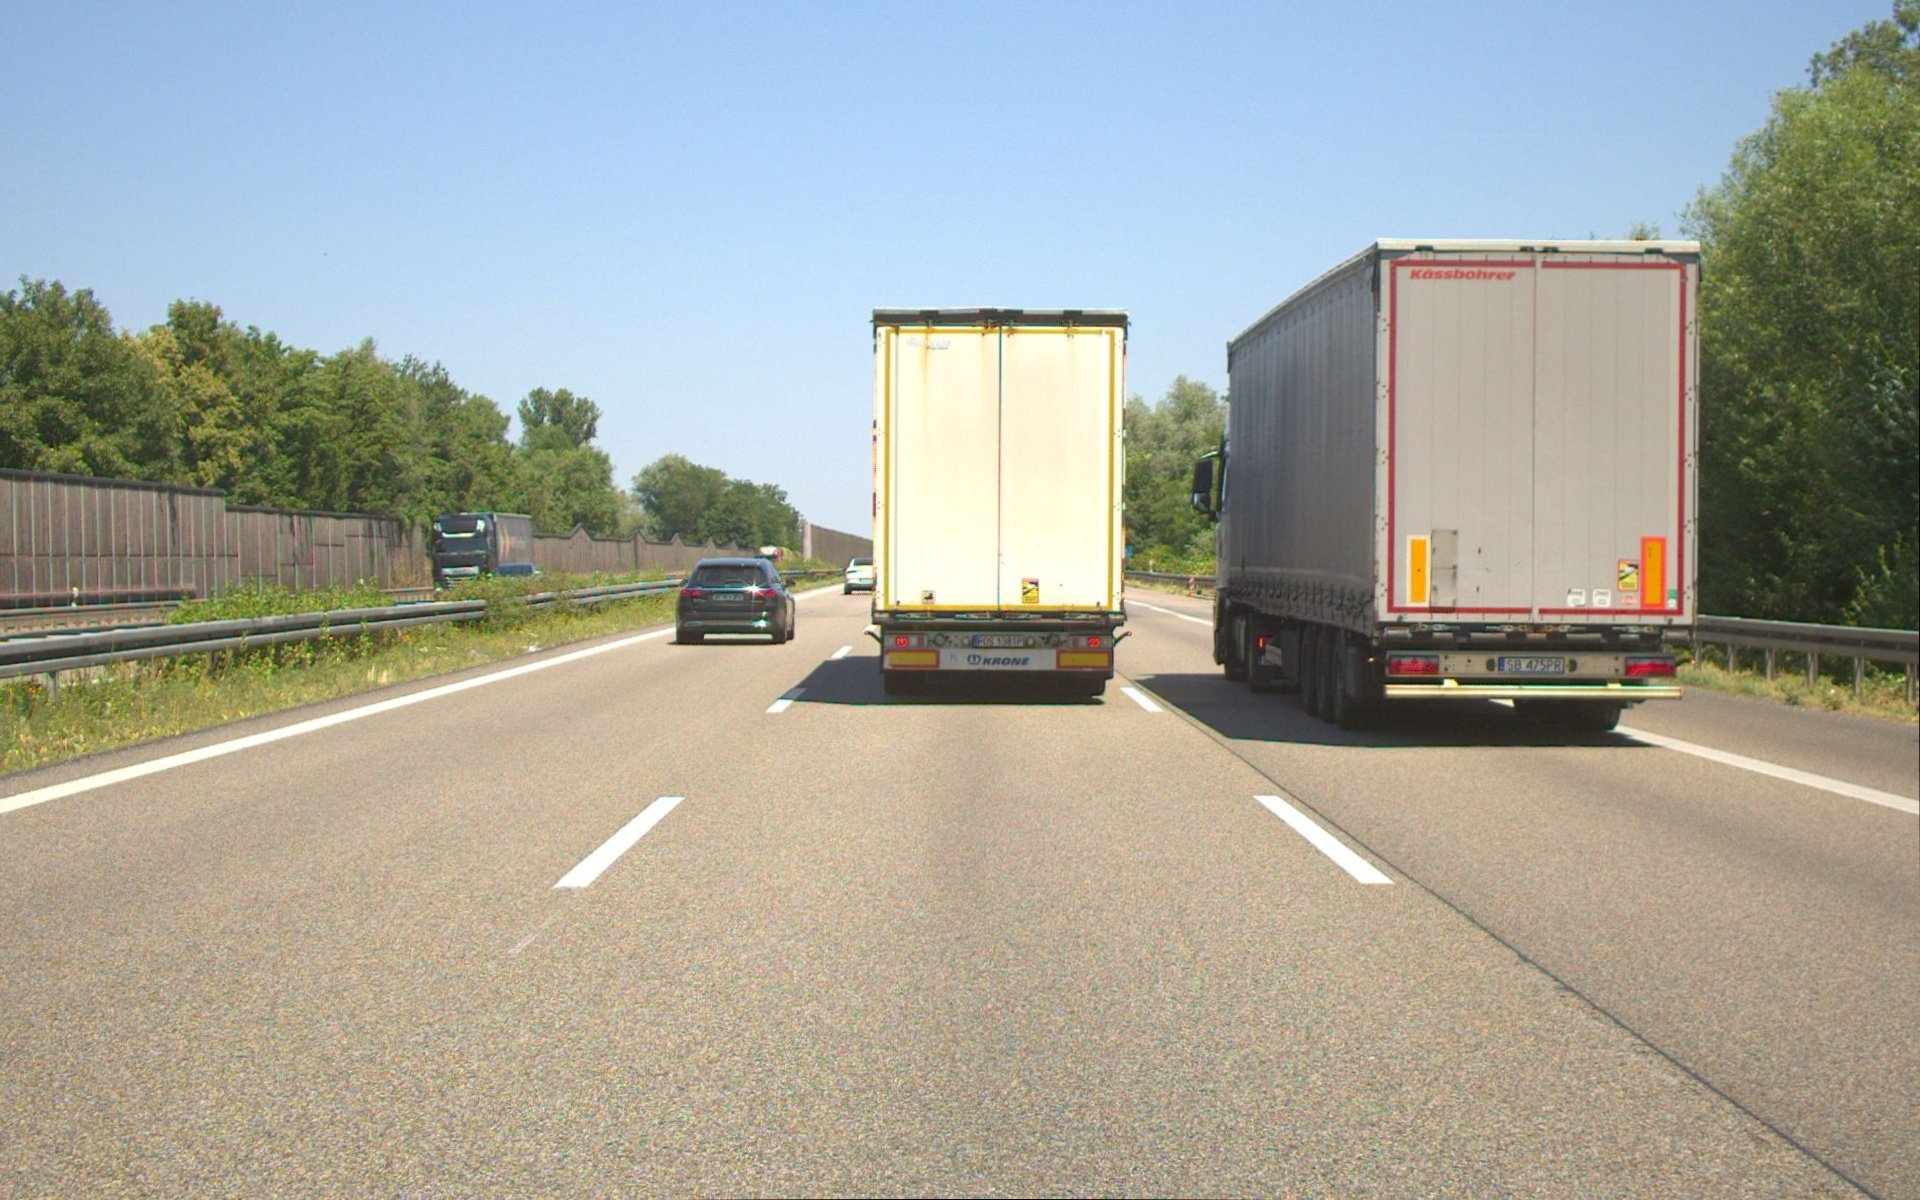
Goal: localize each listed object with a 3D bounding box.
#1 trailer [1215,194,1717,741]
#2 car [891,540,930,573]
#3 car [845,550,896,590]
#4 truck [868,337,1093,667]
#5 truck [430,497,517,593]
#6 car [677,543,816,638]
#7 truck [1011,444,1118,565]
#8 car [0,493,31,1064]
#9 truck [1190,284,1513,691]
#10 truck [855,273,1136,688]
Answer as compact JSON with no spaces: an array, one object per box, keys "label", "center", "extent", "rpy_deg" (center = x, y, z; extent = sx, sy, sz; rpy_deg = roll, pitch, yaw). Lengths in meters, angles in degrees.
[{"label":"trailer","center":[4.440,-1.143,33.443],"extent":[2.703,4.201,13.213],"rpy_deg":[-1,1,-1]},{"label":"car","center":[-2.572,-2.275,177.293],"extent":[1.855,1.611,4.001],"rpy_deg":[-2,1,-2]},{"label":"car","center":[-3.559,-1.201,137.446],"extent":[1.855,1.481,4.000],"rpy_deg":[-2,1,0]},{"label":"truck","center":[0.219,-1.286,46.721],"extent":[2.727,4.071,7.277],"rpy_deg":[-1,1,-1]},{"label":"truck","center":[-21.506,-2.431,152.350],"extent":[2.727,4.071,7.839],"rpy_deg":[-1,1,-1]},{"label":"car","center":[-3.712,-0.210,60.618],"extent":[1.943,1.501,5.821],"rpy_deg":[-2,1,1]},{"label":"truck","center":[3.837,-3.554,128.885],"extent":[3.374,4.289,11.451],"rpy_deg":[1,1,-1]},{"label":"car","center":[-3.747,0.572,7.185],"extent":[2.043,1.619,5.772],"rpy_deg":[-1,1,0]},{"label":"truck","center":[4.372,-1.245,40.001],"extent":[2.691,4.201,7.839],"rpy_deg":[-1,1,-1]},{"label":"truck","center":[0.283,-1.305,41.073],"extent":[2.707,4.071,13.475],"rpy_deg":[-1,1,-1]}]
